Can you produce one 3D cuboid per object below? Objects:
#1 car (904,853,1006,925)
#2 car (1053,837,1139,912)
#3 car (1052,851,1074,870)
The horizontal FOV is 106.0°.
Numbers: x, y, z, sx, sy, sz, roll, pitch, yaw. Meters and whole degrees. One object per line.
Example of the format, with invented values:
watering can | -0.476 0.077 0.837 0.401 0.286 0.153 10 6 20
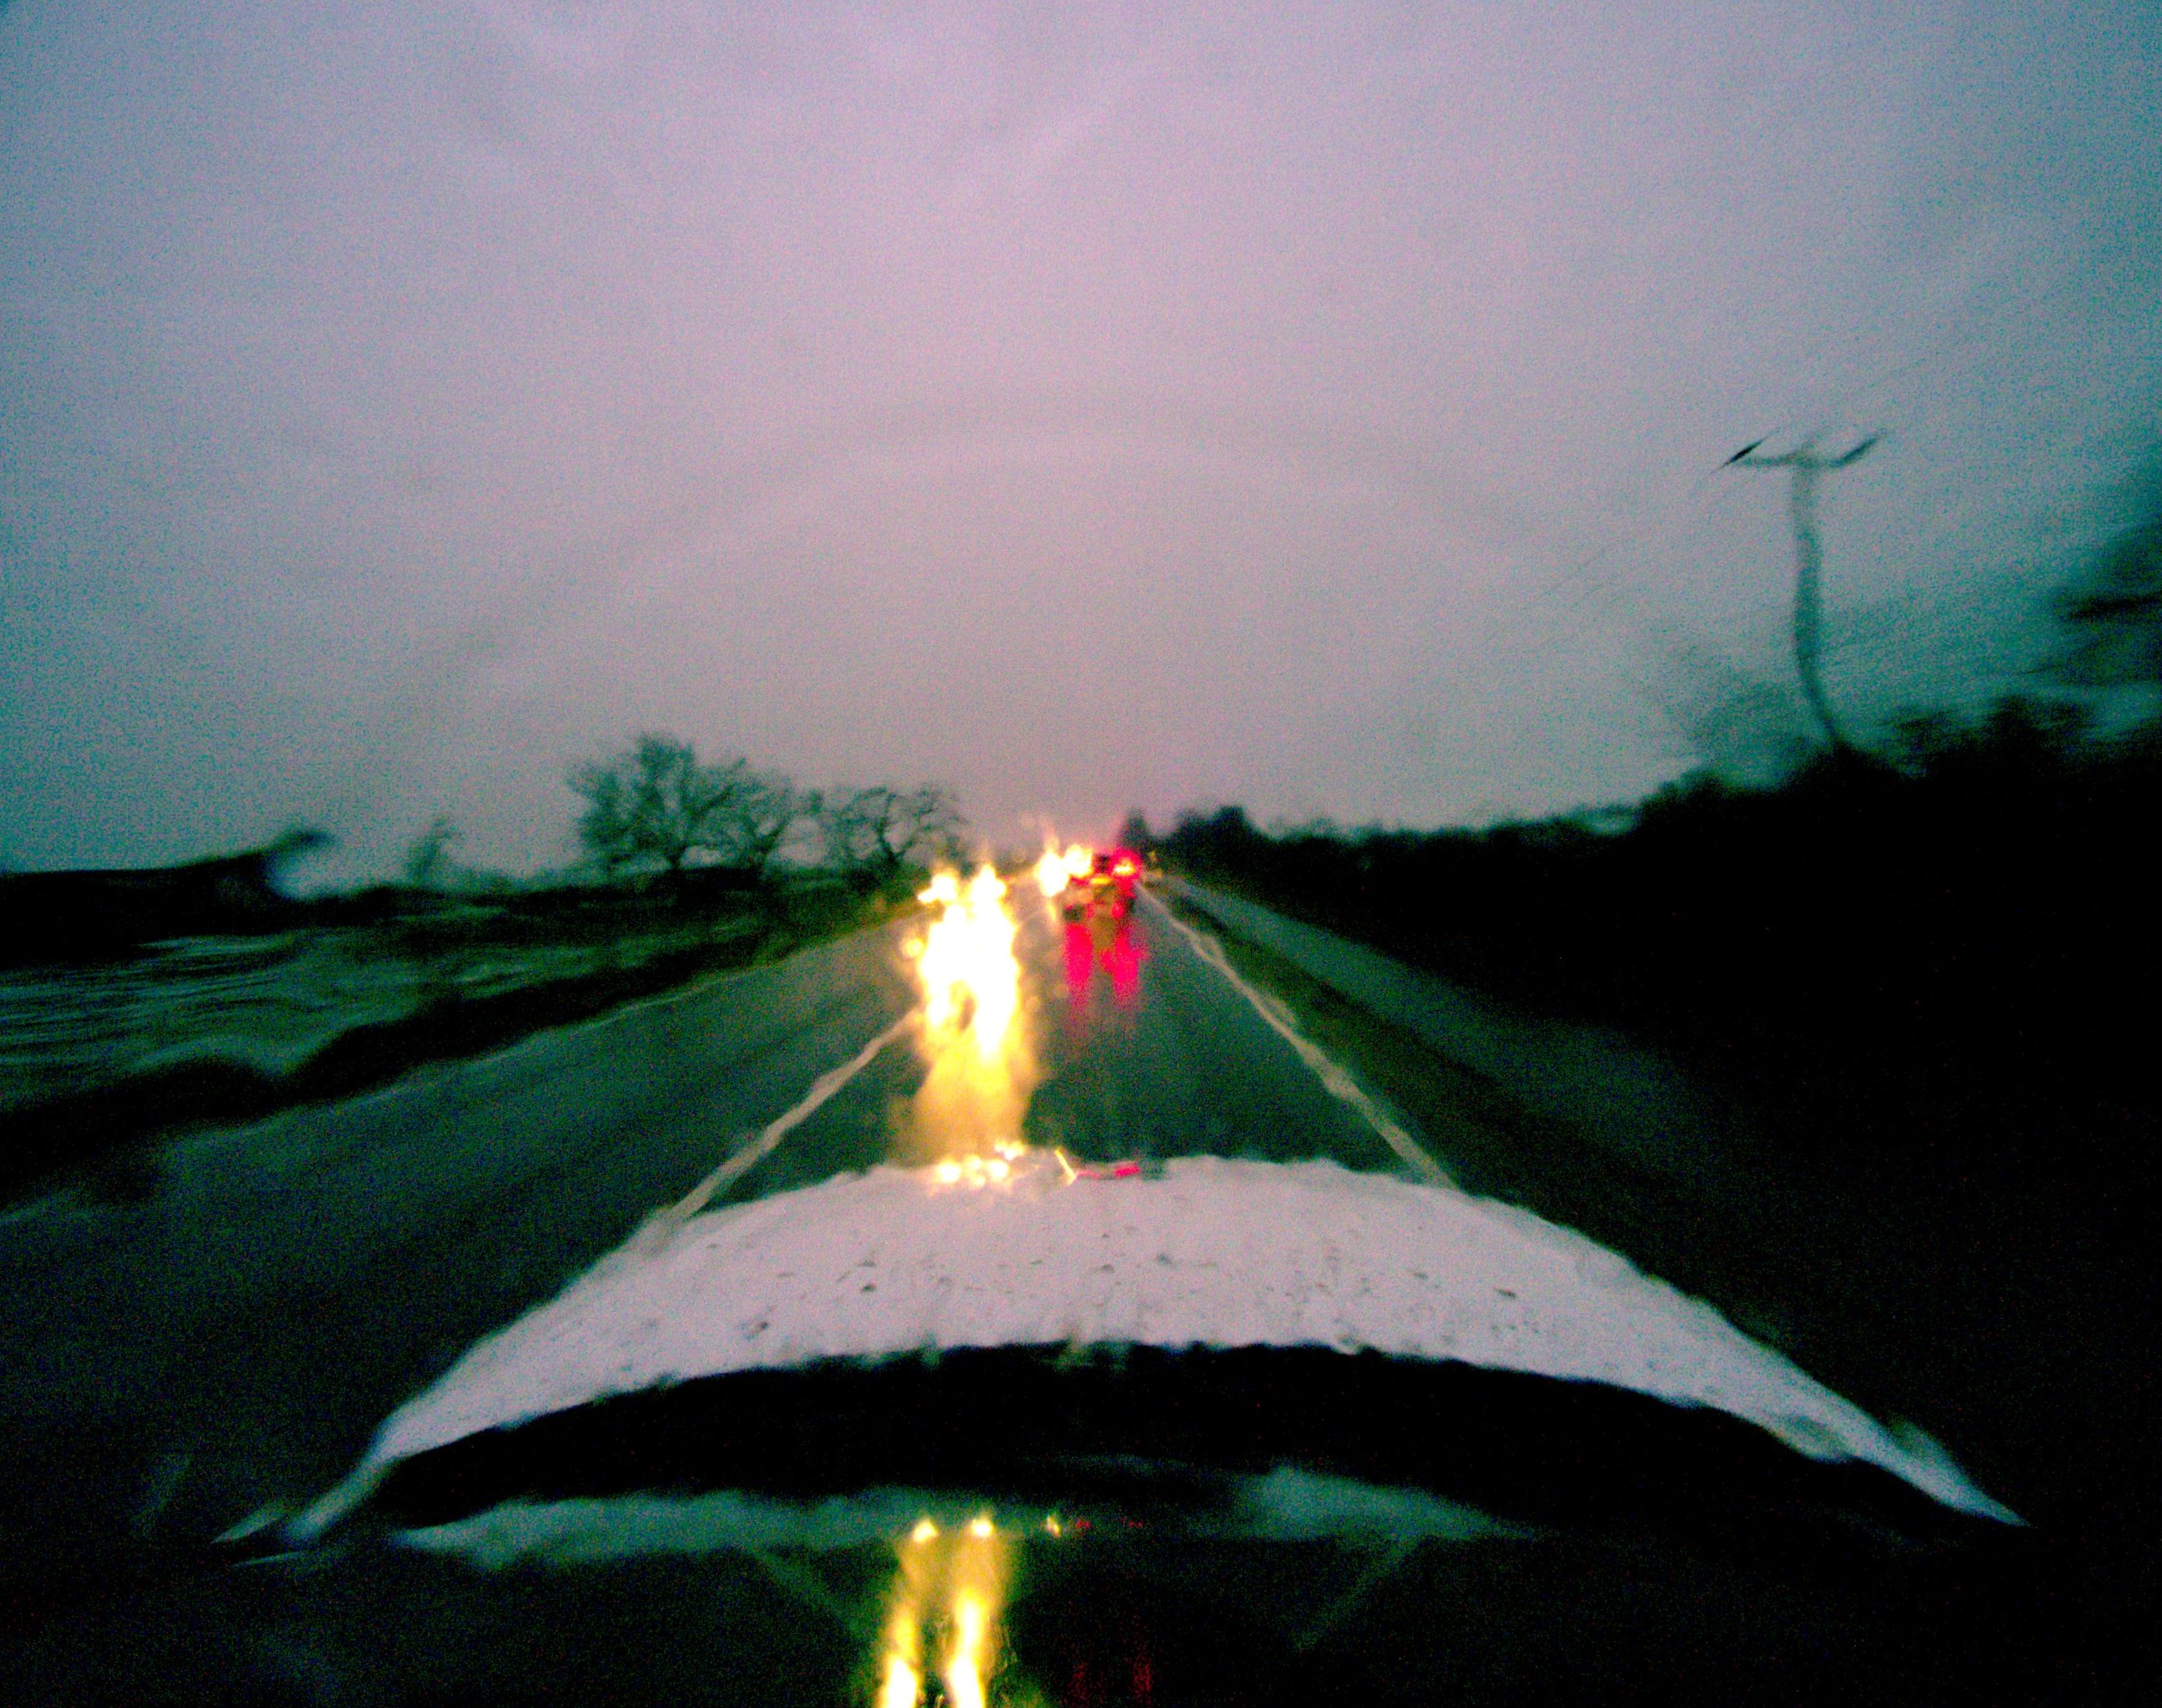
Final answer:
car | -3.095 0.793 20.898 1.849 1.517 4.515 -4 0 -1
car | 0.460 0.501 22.730 2.112 1.820 4.982 -1 0 2
car | -1.669 0.566 75.631 1.755 1.555 4.002 -3 0 2
